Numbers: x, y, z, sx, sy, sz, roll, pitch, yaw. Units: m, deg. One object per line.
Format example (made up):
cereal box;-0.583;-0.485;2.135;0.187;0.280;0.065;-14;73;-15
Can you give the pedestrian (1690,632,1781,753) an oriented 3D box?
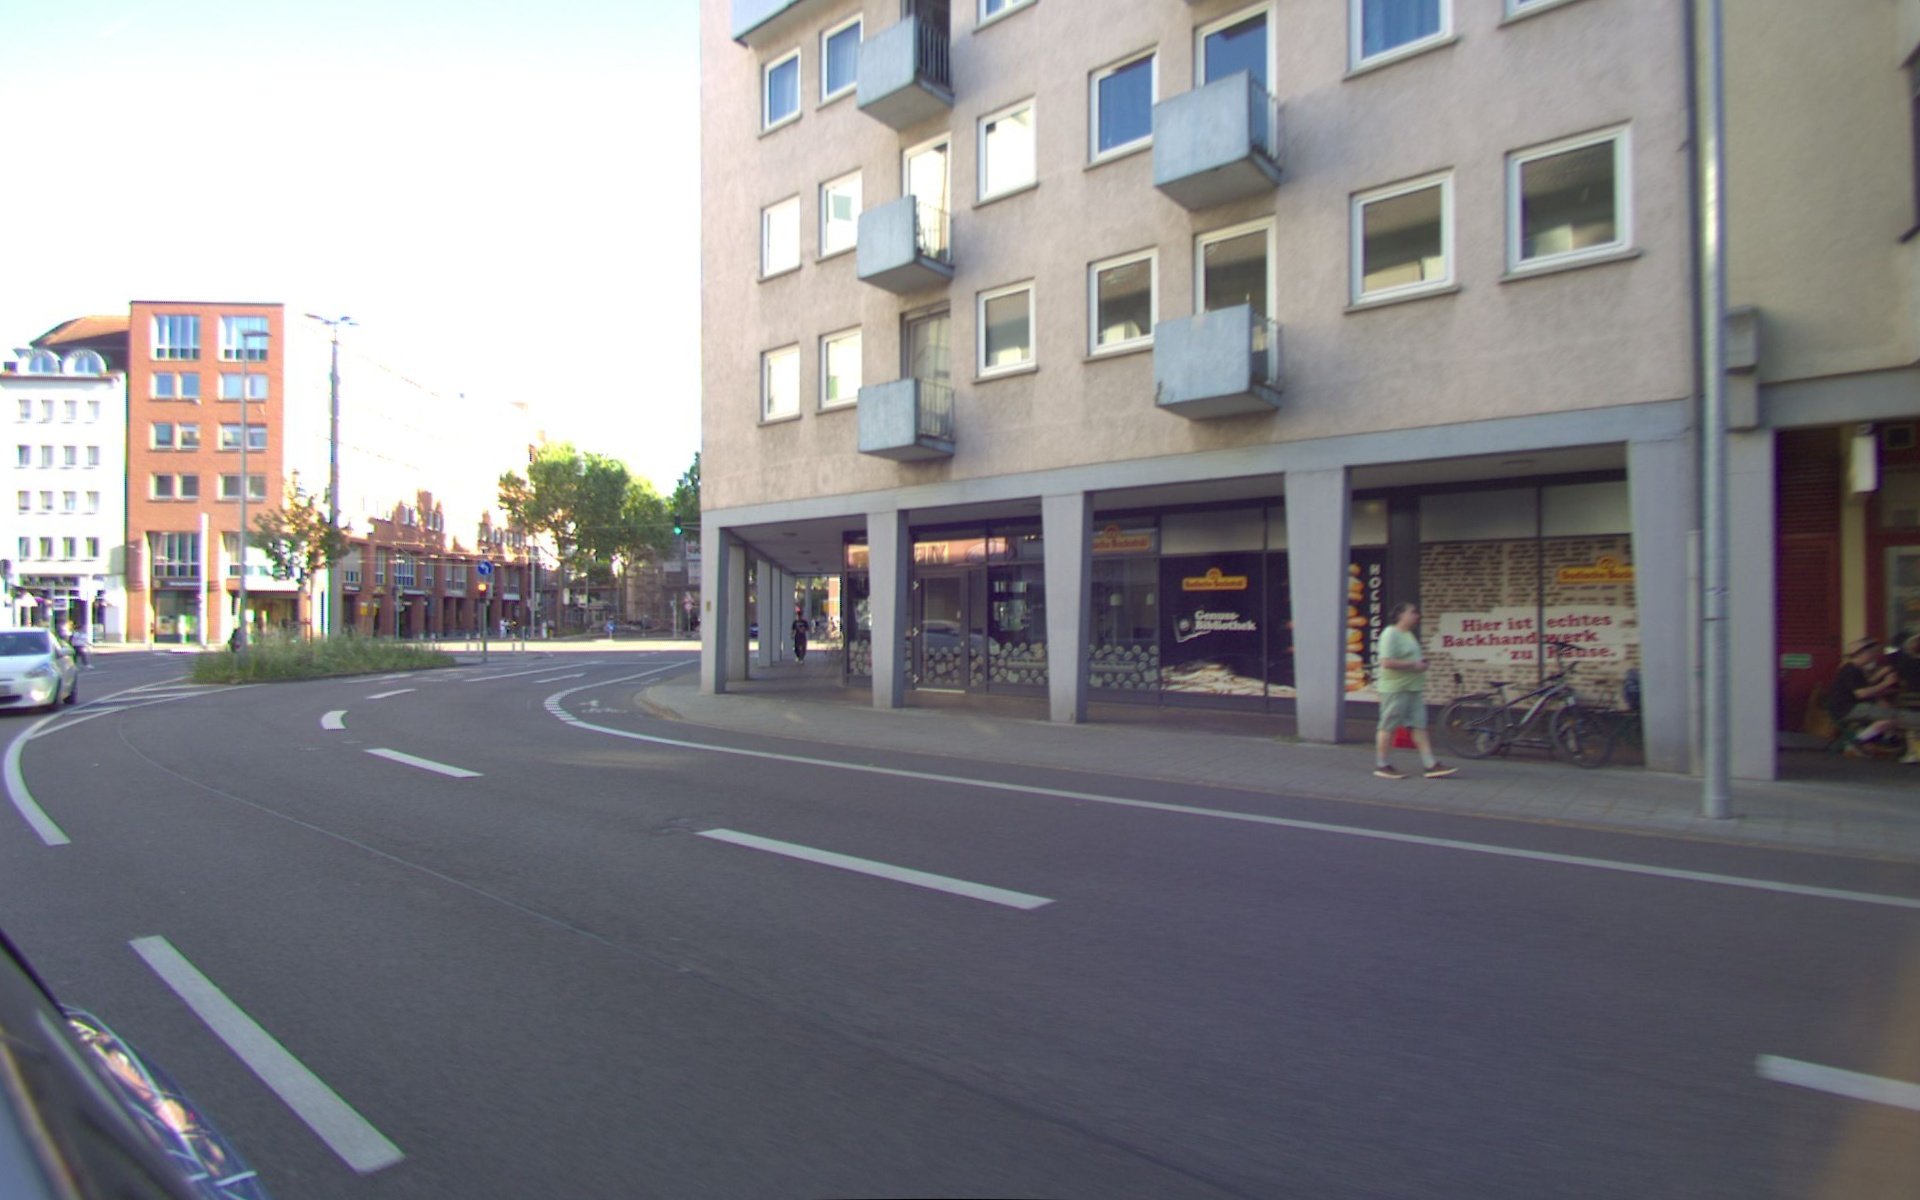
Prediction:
pedestrian;8.753;1.018;11.428;0.560;1.277;0.690;-1;0;-39

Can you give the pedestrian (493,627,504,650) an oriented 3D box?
pedestrian;-36.100;3.008;79.176;0.546;1.760;0.716;-1;0;-6

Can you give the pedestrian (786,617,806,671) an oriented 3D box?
pedestrian;-5.598;1.501;34.580;0.603;1.786;0.530;-1;0;-3

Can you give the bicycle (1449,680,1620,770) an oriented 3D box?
bicycle;6.070;1.298;10.754;1.523;0.831;0.354;-2;-1;43

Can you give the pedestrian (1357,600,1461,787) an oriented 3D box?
pedestrian;4.489;0.888;10.115;0.723;1.753;0.823;-1;0;41

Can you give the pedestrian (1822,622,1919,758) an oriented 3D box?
pedestrian;9.629;0.916;10.680;0.701;1.346;0.740;-1;0;-45

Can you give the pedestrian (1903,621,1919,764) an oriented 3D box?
pedestrian;9.753;0.904;9.903;0.605;1.378;0.712;-1;0;-44

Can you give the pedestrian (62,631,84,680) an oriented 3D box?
pedestrian;-32.749;2.042;37.383;0.585;1.760;0.503;-1;0;-41

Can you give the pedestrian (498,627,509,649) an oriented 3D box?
pedestrian;-36.070;3.000;79.993;0.546;1.760;0.716;-1;0;-6

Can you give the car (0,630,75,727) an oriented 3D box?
car;-16.710;1.305;17.568;1.656;1.510;3.694;0;-1;-35
